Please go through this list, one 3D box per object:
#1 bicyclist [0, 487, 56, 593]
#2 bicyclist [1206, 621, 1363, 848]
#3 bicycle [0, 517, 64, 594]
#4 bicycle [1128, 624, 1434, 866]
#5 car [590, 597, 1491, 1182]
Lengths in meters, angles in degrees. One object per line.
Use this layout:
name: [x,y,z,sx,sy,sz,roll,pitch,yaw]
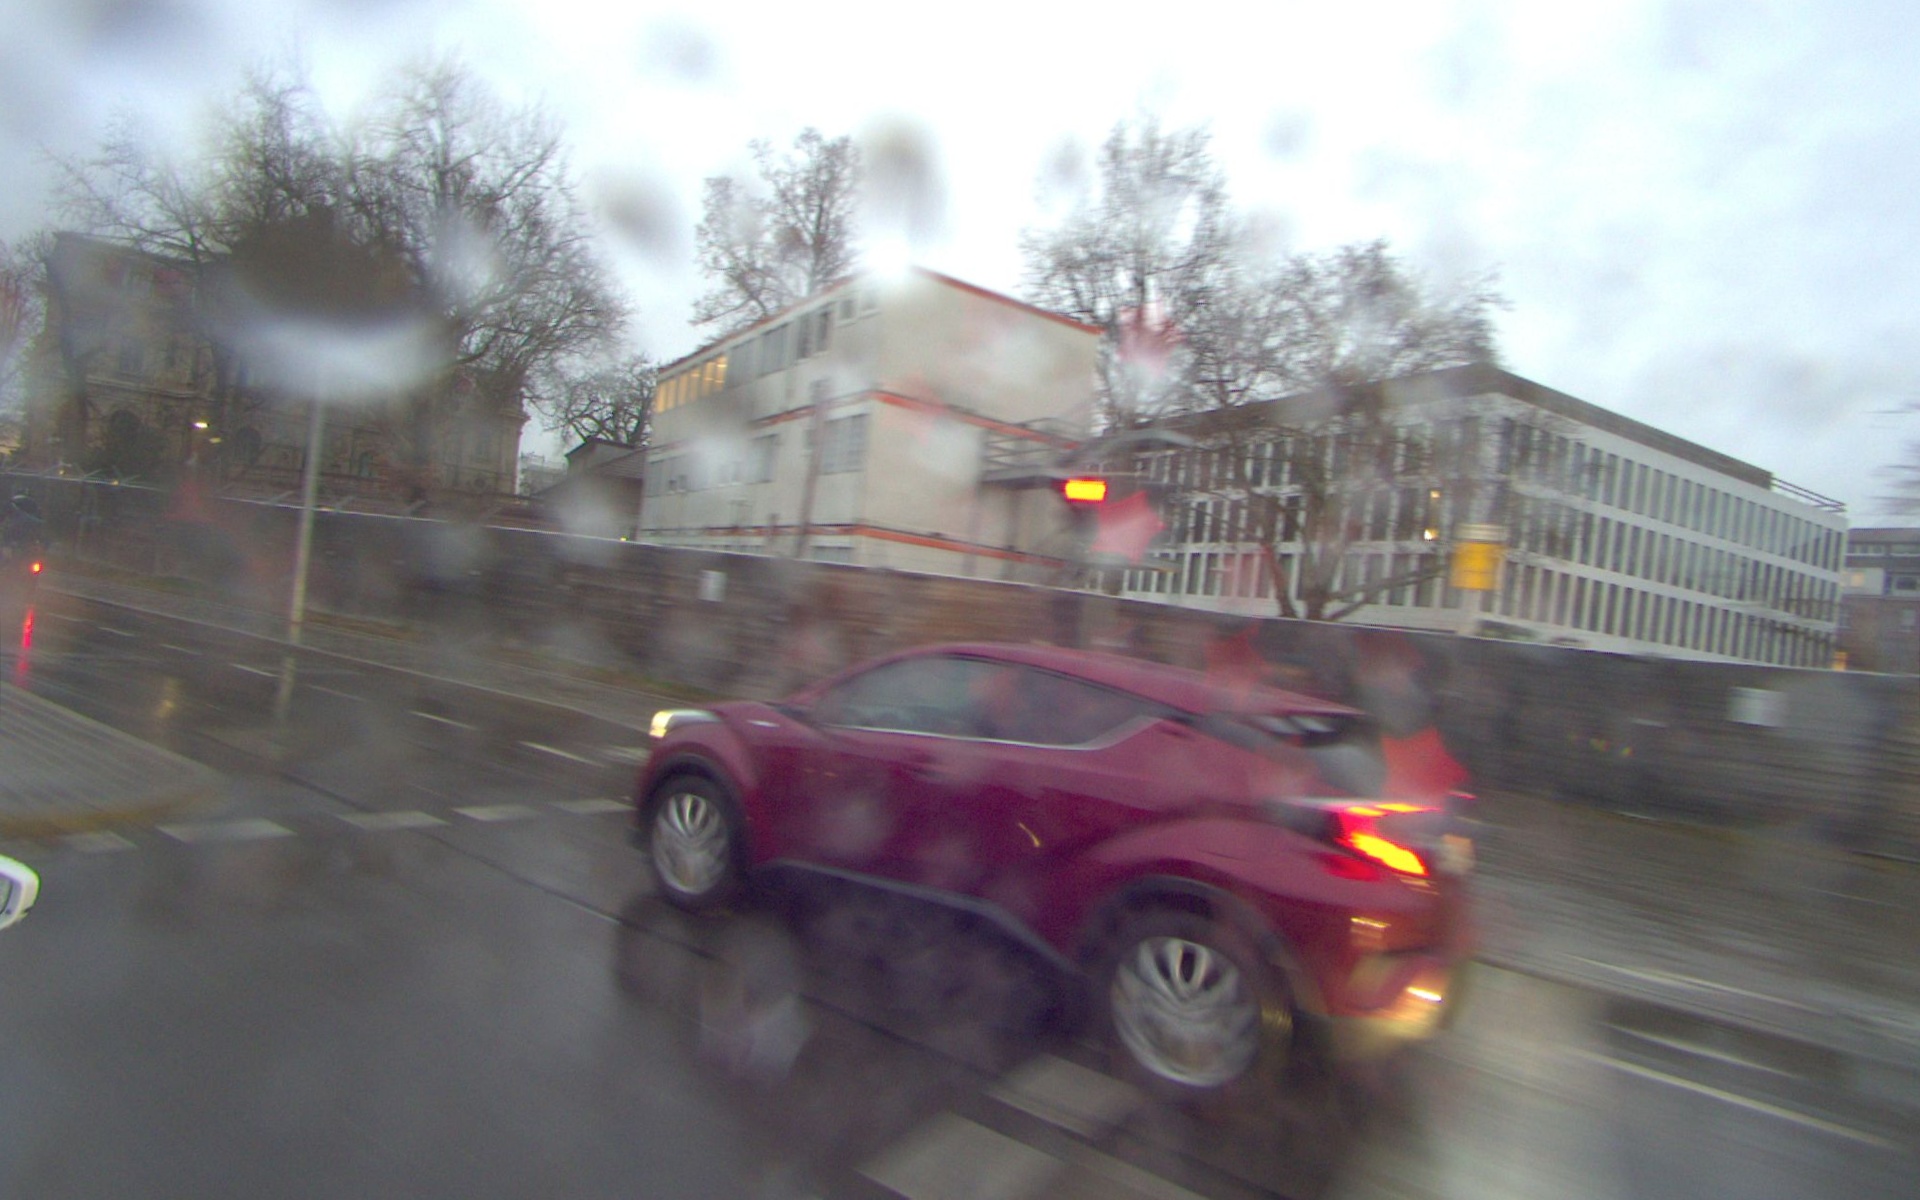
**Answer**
bicyclist: [-16.789,-1.074,18.017,0.823,1.789,0.501,7,1,28]
bicyclist: [2.631,1.074,8.221,0.805,1.699,0.695,7,0,-15]
bicycle: [-16.756,-0.822,17.963,1.994,1.200,0.412,7,0,29]
bicycle: [2.620,1.175,8.208,2.213,1.675,0.688,8,-2,-15]
car: [0.211,0.973,4.912,3.938,1.496,1.725,5,-3,35]
